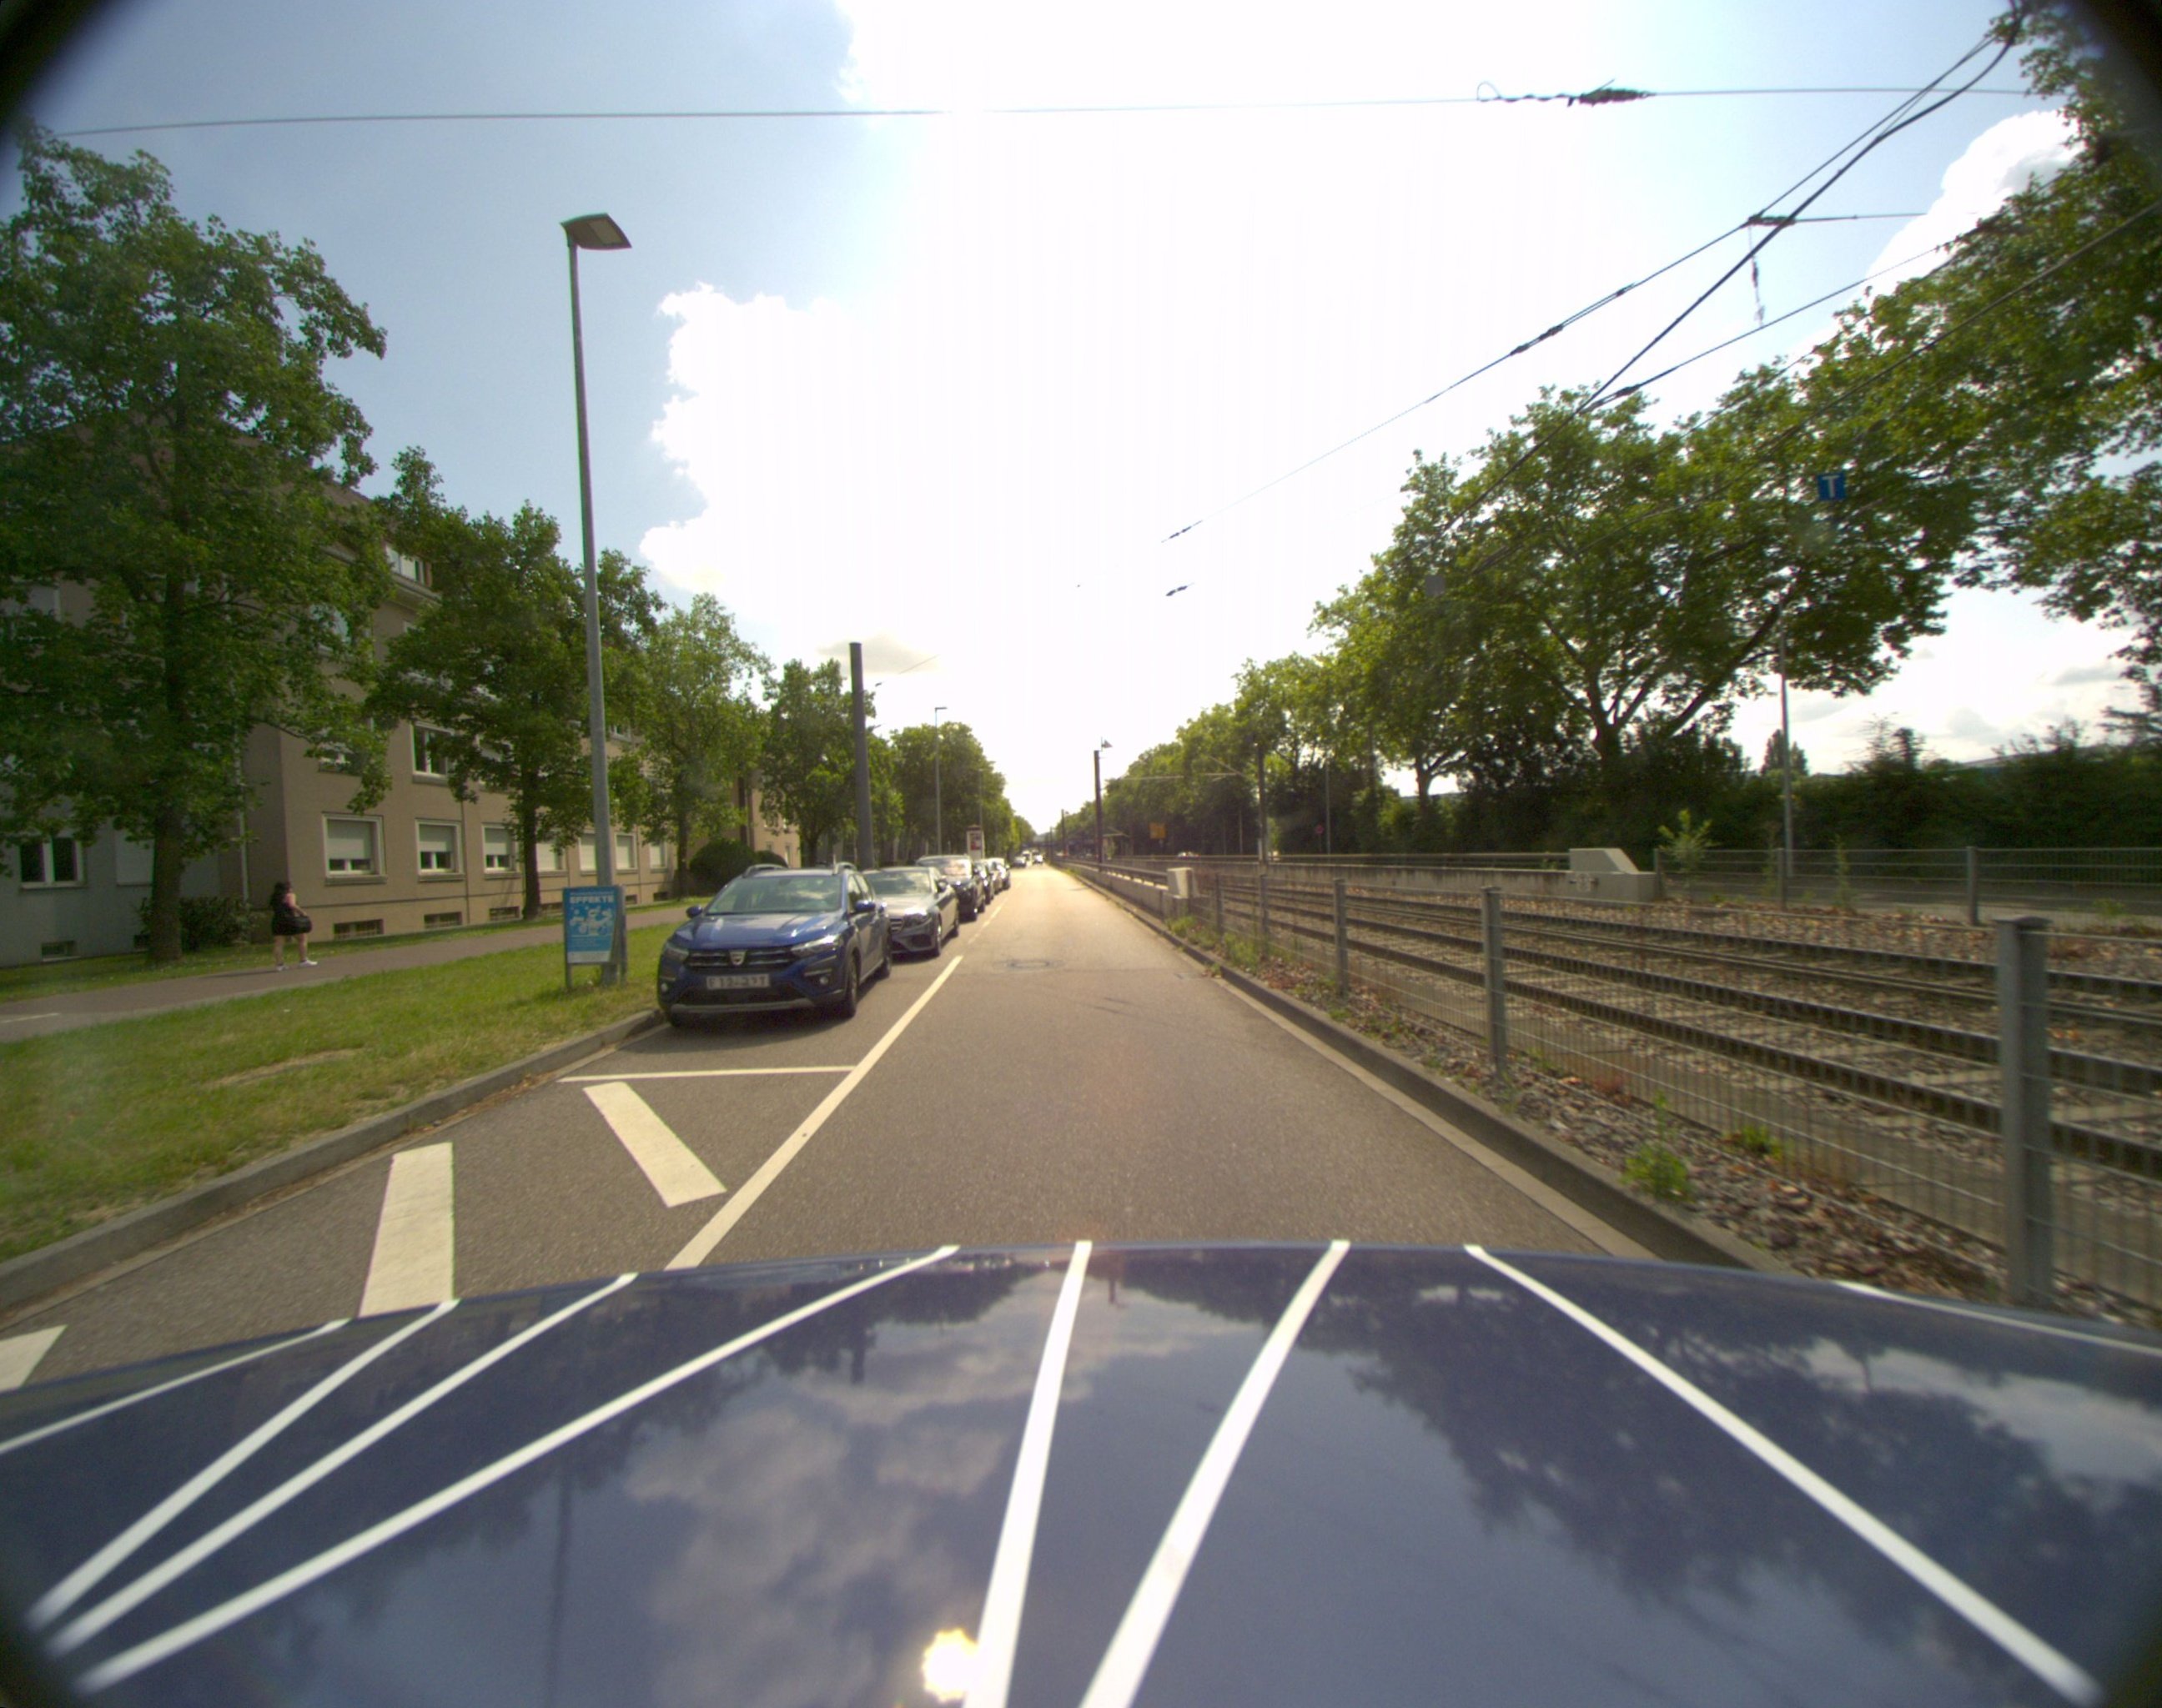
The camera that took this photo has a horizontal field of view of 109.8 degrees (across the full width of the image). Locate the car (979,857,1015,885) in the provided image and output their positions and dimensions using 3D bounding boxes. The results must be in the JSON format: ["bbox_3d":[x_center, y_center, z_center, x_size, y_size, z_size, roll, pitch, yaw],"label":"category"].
[{"bbox_3d":[-4.787,0.945,43.542,1.712,1.471,3.788,-2,1,-2],"label":"car"}]

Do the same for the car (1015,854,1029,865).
[{"bbox_3d":[-8.946,0.869,115.299,1.809,1.496,3.733,-3,1,-3],"label":"car"}]

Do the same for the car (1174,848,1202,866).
[{"bbox_3d":[9.778,0.276,69.682,1.672,1.587,4.296,-2,0,-3],"label":"car"}]

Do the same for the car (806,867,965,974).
[{"bbox_3d":[-3.288,1.033,13.792,1.821,1.445,4.988,-2,0,-3],"label":"car"}]

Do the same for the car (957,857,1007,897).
[{"bbox_3d":[-4.180,0.946,32.574,1.674,1.506,3.849,-2,1,-2],"label":"car"}]

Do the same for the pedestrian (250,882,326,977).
[{"bbox_3d":[-13.955,1.310,13.389,0.623,1.599,0.625,-1,1,8],"label":"pedestrian"}]

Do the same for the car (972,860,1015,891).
[{"bbox_3d":[-4.242,1.023,37.394,1.829,1.304,4.440,-2,1,-3],"label":"car"}]

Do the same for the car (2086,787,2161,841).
[{"bbox_3d":[37.347,-1.428,25.784,3.998,1.762,1.999,-3,1,-3],"label":"car"}]

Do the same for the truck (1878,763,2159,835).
[{"bbox_3d":[41.075,-2.360,33.524,8.854,2.777,2.706,-1,1,2],"label":"truck"}]

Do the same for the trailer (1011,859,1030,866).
[{"bbox_3d":[-8.244,1.179,103.813,2.304,0.823,6.818,-3,0,-3],"label":"trailer"}]

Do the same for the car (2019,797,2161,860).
[{"bbox_3d":[26.448,-0.677,18.868,3.998,1.434,1.999,-3,1,-3],"label":"car"}]

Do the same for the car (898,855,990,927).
[{"bbox_3d":[-3.502,0.878,20.284,1.821,1.652,4.669,-2,0,-3],"label":"car"}]

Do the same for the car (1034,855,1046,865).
[{"bbox_3d":[-7.345,1.118,136.710,1.999,1.711,4.303,-2,1,-3],"label":"car"}]

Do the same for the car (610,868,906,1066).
[{"bbox_3d":[-3.258,0.997,8.703,1.784,1.531,4.418,-2,0,-5],"label":"car"}]

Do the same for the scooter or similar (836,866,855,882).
[{"bbox_3d":[-21.053,1.779,67.963,1.442,1.296,0.548,-3,1,12],"label":"scooter or similar"}]

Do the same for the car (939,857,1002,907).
[{"bbox_3d":[-3.821,0.916,26.907,1.649,1.521,4.441,-2,1,-2],"label":"car"}]
